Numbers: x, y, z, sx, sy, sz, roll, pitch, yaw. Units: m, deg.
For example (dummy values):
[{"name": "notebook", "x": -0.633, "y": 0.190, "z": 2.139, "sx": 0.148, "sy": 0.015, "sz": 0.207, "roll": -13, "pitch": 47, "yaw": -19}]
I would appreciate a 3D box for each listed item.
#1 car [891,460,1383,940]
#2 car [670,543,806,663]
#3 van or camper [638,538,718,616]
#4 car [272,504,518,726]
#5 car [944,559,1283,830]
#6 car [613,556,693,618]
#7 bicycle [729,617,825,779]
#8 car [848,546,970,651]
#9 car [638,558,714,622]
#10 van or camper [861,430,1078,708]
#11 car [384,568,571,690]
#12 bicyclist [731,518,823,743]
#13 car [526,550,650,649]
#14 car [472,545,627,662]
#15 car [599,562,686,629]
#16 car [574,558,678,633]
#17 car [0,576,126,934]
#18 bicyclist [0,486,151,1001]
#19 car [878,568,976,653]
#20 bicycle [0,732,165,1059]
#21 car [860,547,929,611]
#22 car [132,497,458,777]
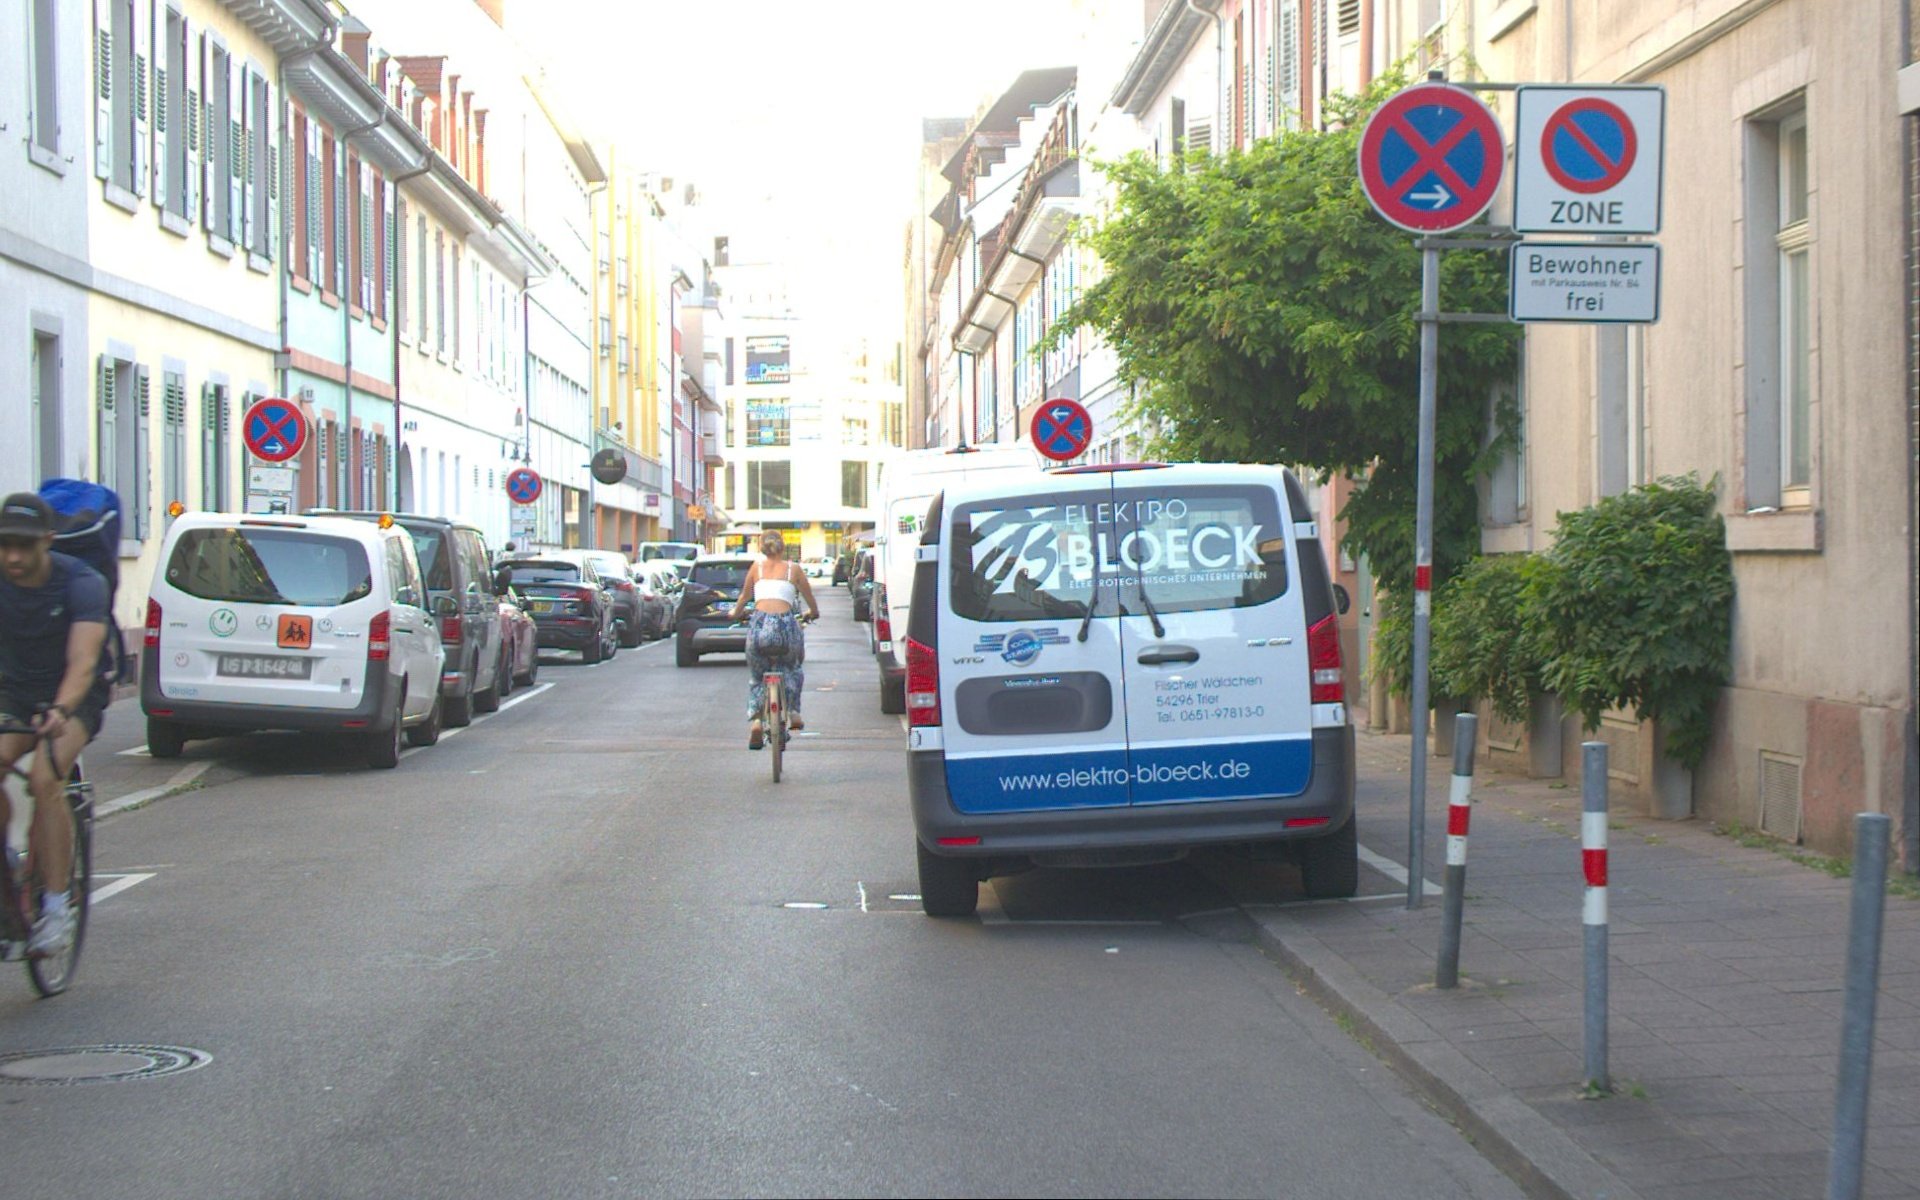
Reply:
[{"name": "car", "x": 0.727, "y": 0.361, "z": 16.338, "sx": 1.936, "sy": 1.891, "sz": 5.277, "roll": -1, "pitch": 1, "yaw": 0}, {"name": "car", "x": -3.145, "y": 0.016, "z": 49.247, "sx": 1.819, "sy": 1.612, "sz": 4.000, "roll": 1, "pitch": 1, "yaw": -2}, {"name": "van or camper", "x": -7.479, "y": -0.623, "z": 91.394, "sx": 1.844, "sy": 2.006, "sz": 4.678, "roll": 1, "pitch": 1, "yaw": -2}, {"name": "car", "x": -5.467, "y": 0.098, "z": 33.795, "sx": 1.862, "sy": 2.007, "sz": 4.814, "roll": -1, "pitch": 1, "yaw": -3}, {"name": "car", "x": 0.860, "y": 0.507, "z": 21.272, "sx": 1.654, "sy": 1.500, "sz": 3.754, "roll": -1, "pitch": 1, "yaw": -4}, {"name": "car", "x": -7.180, "y": -0.316, "z": 80.639, "sx": 1.653, "sy": 1.406, "sz": 3.606, "roll": 1, "pitch": 1, "yaw": -2}, {"name": "bicycle", "x": -1.286, "y": 0.674, "z": 24.353, "sx": 0.613, "sy": 1.078, "sz": 1.809, "roll": 0, "pitch": 1, "yaw": -1}, {"name": "car", "x": -0.827, "y": -0.049, "z": 56.460, "sx": 1.819, "sy": 1.525, "sz": 5.071, "roll": -4, "pitch": 1, "yaw": 0}, {"name": "car", "x": -7.055, "y": -0.264, "z": 85.624, "sx": 1.653, "sy": 1.555, "sz": 3.606, "roll": 1, "pitch": 1, "yaw": -2}, {"name": "van or camper", "x": 0.030, "y": -0.346, "z": 36.337, "sx": 2.050, "sy": 2.628, "sz": 7.063, "roll": -1, "pitch": 1, "yaw": -1}, {"name": "car", "x": -5.765, "y": 0.313, "z": 41.486, "sx": 1.765, "sy": 1.397, "sz": 4.263, "roll": 0, "pitch": 1, "yaw": -1}, {"name": "bicyclist", "x": -1.287, "y": 0.208, "z": 24.286, "sx": 0.621, "sy": 1.569, "sz": 0.683, "roll": 0, "pitch": 0, "yaw": -1}, {"name": "car", "x": -6.722, "y": -0.037, "z": 62.572, "sx": 1.997, "sy": 1.701, "sz": 4.536, "roll": 1, "pitch": 1, "yaw": -3}, {"name": "car", "x": -6.090, "y": 0.021, "z": 51.421, "sx": 1.802, "sy": 1.671, "sz": 4.490, "roll": 0, "pitch": 1, "yaw": -1}, {"name": "car", "x": -6.956, "y": -0.122, "z": 75.553, "sx": 1.653, "sy": 1.406, "sz": 3.903, "roll": 1, "pitch": 1, "yaw": -2}, {"name": "car", "x": -6.688, "y": -0.122, "z": 69.106, "sx": 1.918, "sy": 1.429, "sz": 4.294, "roll": 1, "pitch": 1, "yaw": -4}, {"name": "car", "x": -4.767, "y": 0.610, "z": 14.572, "sx": 1.662, "sy": 1.444, "sz": 3.521, "roll": 3, "pitch": 0, "yaw": -2}, {"name": "bicyclist", "x": -3.121, "y": 0.450, "z": 11.449, "sx": 0.623, "sy": 1.634, "sz": 1.081, "roll": 0, "pitch": 0, "yaw": -2}, {"name": "car", "x": -0.746, "y": 0.200, "z": 73.983, "sx": 1.918, "sy": 1.732, "sz": 4.154, "roll": 1, "pitch": 1, "yaw": -3}, {"name": "bicycle", "x": -3.146, "y": 0.942, "z": 11.448, "sx": 0.634, "sy": 0.919, "sz": 1.779, "roll": 0, "pitch": 1, "yaw": -2}, {"name": "car", "x": -1.652, "y": -0.533, "z": 86.023, "sx": 1.653, "sy": 1.555, "sz": 3.606, "roll": 1, "pitch": 1, "yaw": -2}, {"name": "car", "x": -5.177, "y": 0.228, "z": 27.413, "sx": 1.862, "sy": 2.007, "sz": 5.107, "roll": -1, "pitch": 1, "yaw": -3}]
